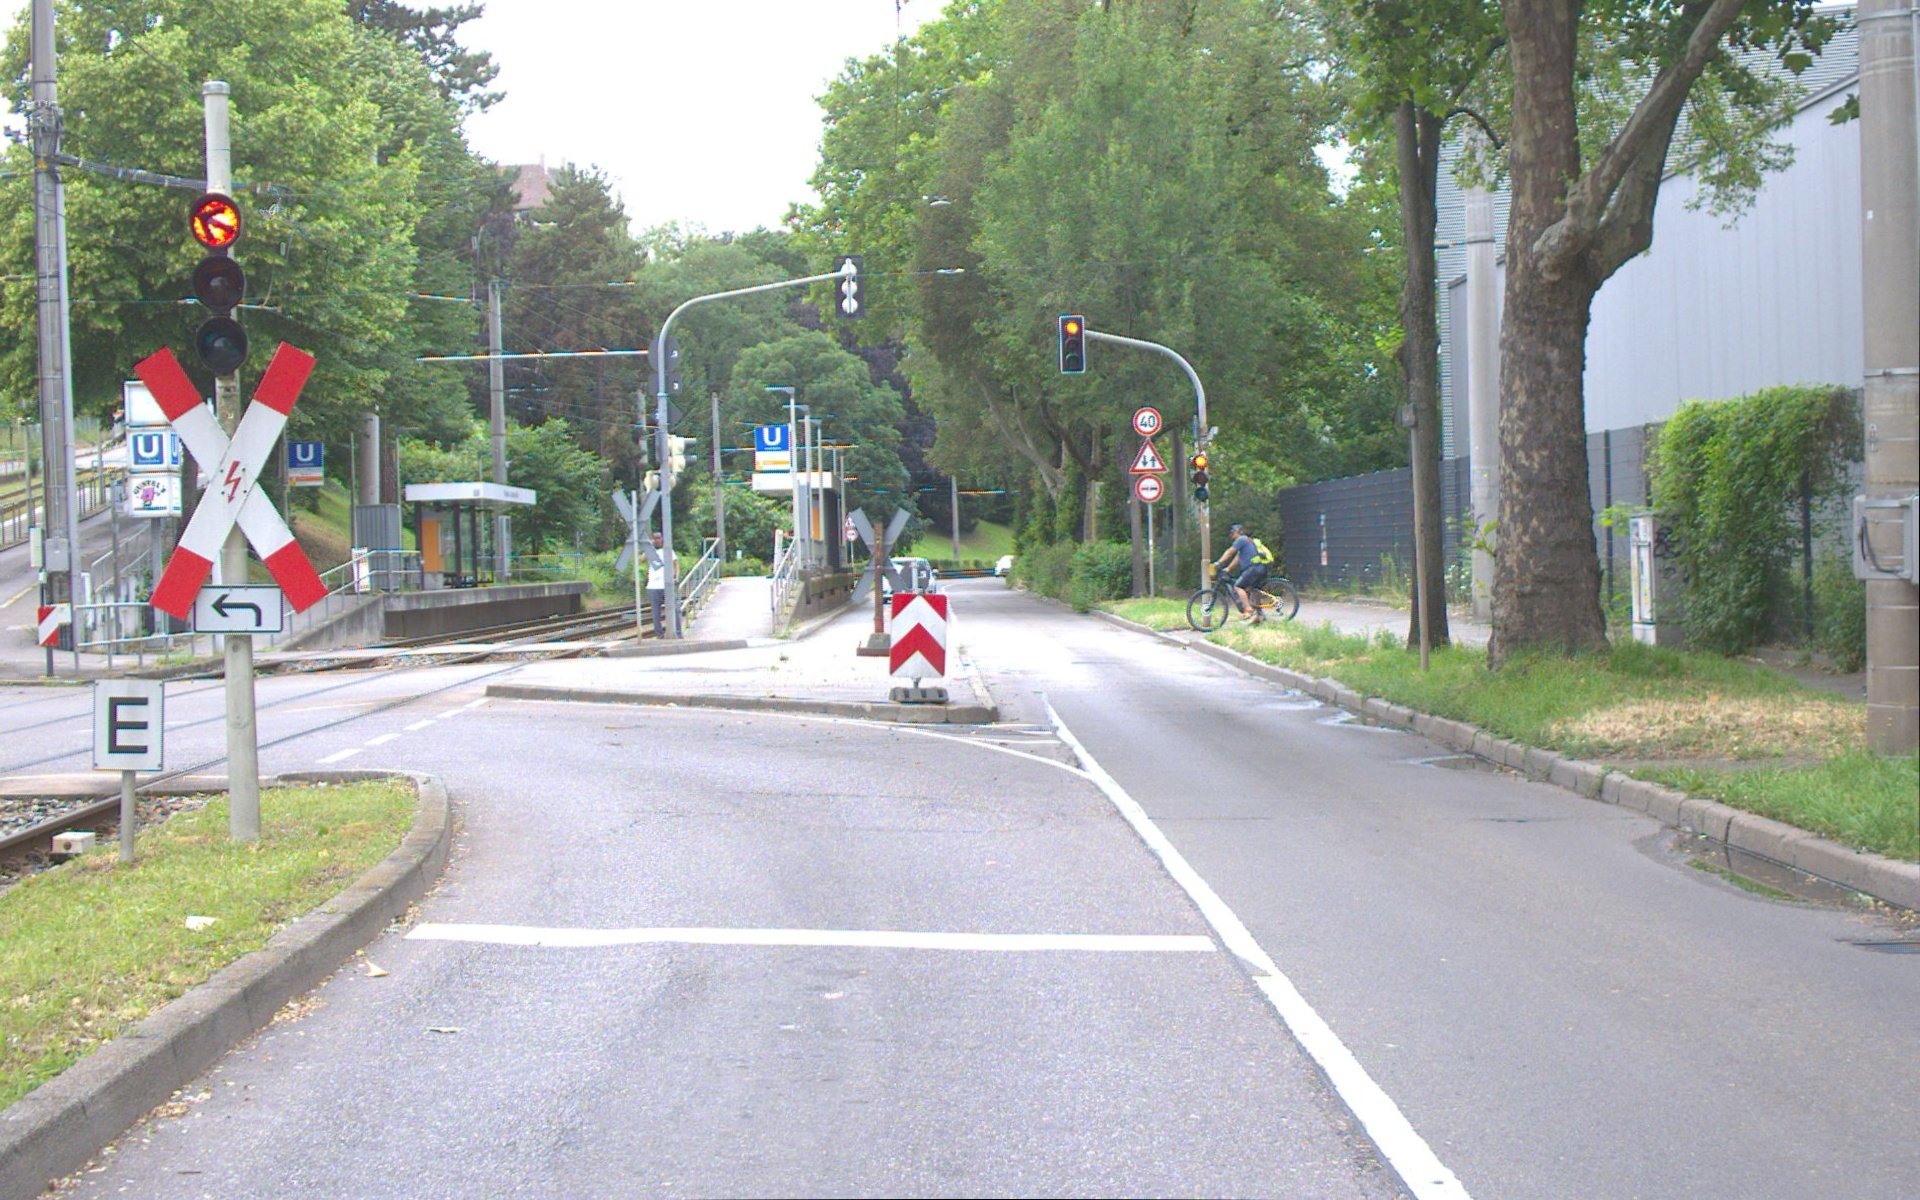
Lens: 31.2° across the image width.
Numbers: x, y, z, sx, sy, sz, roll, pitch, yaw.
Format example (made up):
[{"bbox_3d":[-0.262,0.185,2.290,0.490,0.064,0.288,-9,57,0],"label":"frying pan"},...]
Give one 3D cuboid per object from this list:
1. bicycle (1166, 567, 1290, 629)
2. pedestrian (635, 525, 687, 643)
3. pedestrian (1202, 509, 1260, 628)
[{"bbox_3d":[4.595,-0.035,58.875,2.075,1.003,0.668,-2,1,6],"label":"bicycle"},{"bbox_3d":[-4.788,-0.256,55.091,0.768,1.846,0.910,-2,1,-4],"label":"pedestrian"},{"bbox_3d":[4.646,-0.541,58.885,0.931,2.007,0.668,-2,0,6],"label":"pedestrian"}]
